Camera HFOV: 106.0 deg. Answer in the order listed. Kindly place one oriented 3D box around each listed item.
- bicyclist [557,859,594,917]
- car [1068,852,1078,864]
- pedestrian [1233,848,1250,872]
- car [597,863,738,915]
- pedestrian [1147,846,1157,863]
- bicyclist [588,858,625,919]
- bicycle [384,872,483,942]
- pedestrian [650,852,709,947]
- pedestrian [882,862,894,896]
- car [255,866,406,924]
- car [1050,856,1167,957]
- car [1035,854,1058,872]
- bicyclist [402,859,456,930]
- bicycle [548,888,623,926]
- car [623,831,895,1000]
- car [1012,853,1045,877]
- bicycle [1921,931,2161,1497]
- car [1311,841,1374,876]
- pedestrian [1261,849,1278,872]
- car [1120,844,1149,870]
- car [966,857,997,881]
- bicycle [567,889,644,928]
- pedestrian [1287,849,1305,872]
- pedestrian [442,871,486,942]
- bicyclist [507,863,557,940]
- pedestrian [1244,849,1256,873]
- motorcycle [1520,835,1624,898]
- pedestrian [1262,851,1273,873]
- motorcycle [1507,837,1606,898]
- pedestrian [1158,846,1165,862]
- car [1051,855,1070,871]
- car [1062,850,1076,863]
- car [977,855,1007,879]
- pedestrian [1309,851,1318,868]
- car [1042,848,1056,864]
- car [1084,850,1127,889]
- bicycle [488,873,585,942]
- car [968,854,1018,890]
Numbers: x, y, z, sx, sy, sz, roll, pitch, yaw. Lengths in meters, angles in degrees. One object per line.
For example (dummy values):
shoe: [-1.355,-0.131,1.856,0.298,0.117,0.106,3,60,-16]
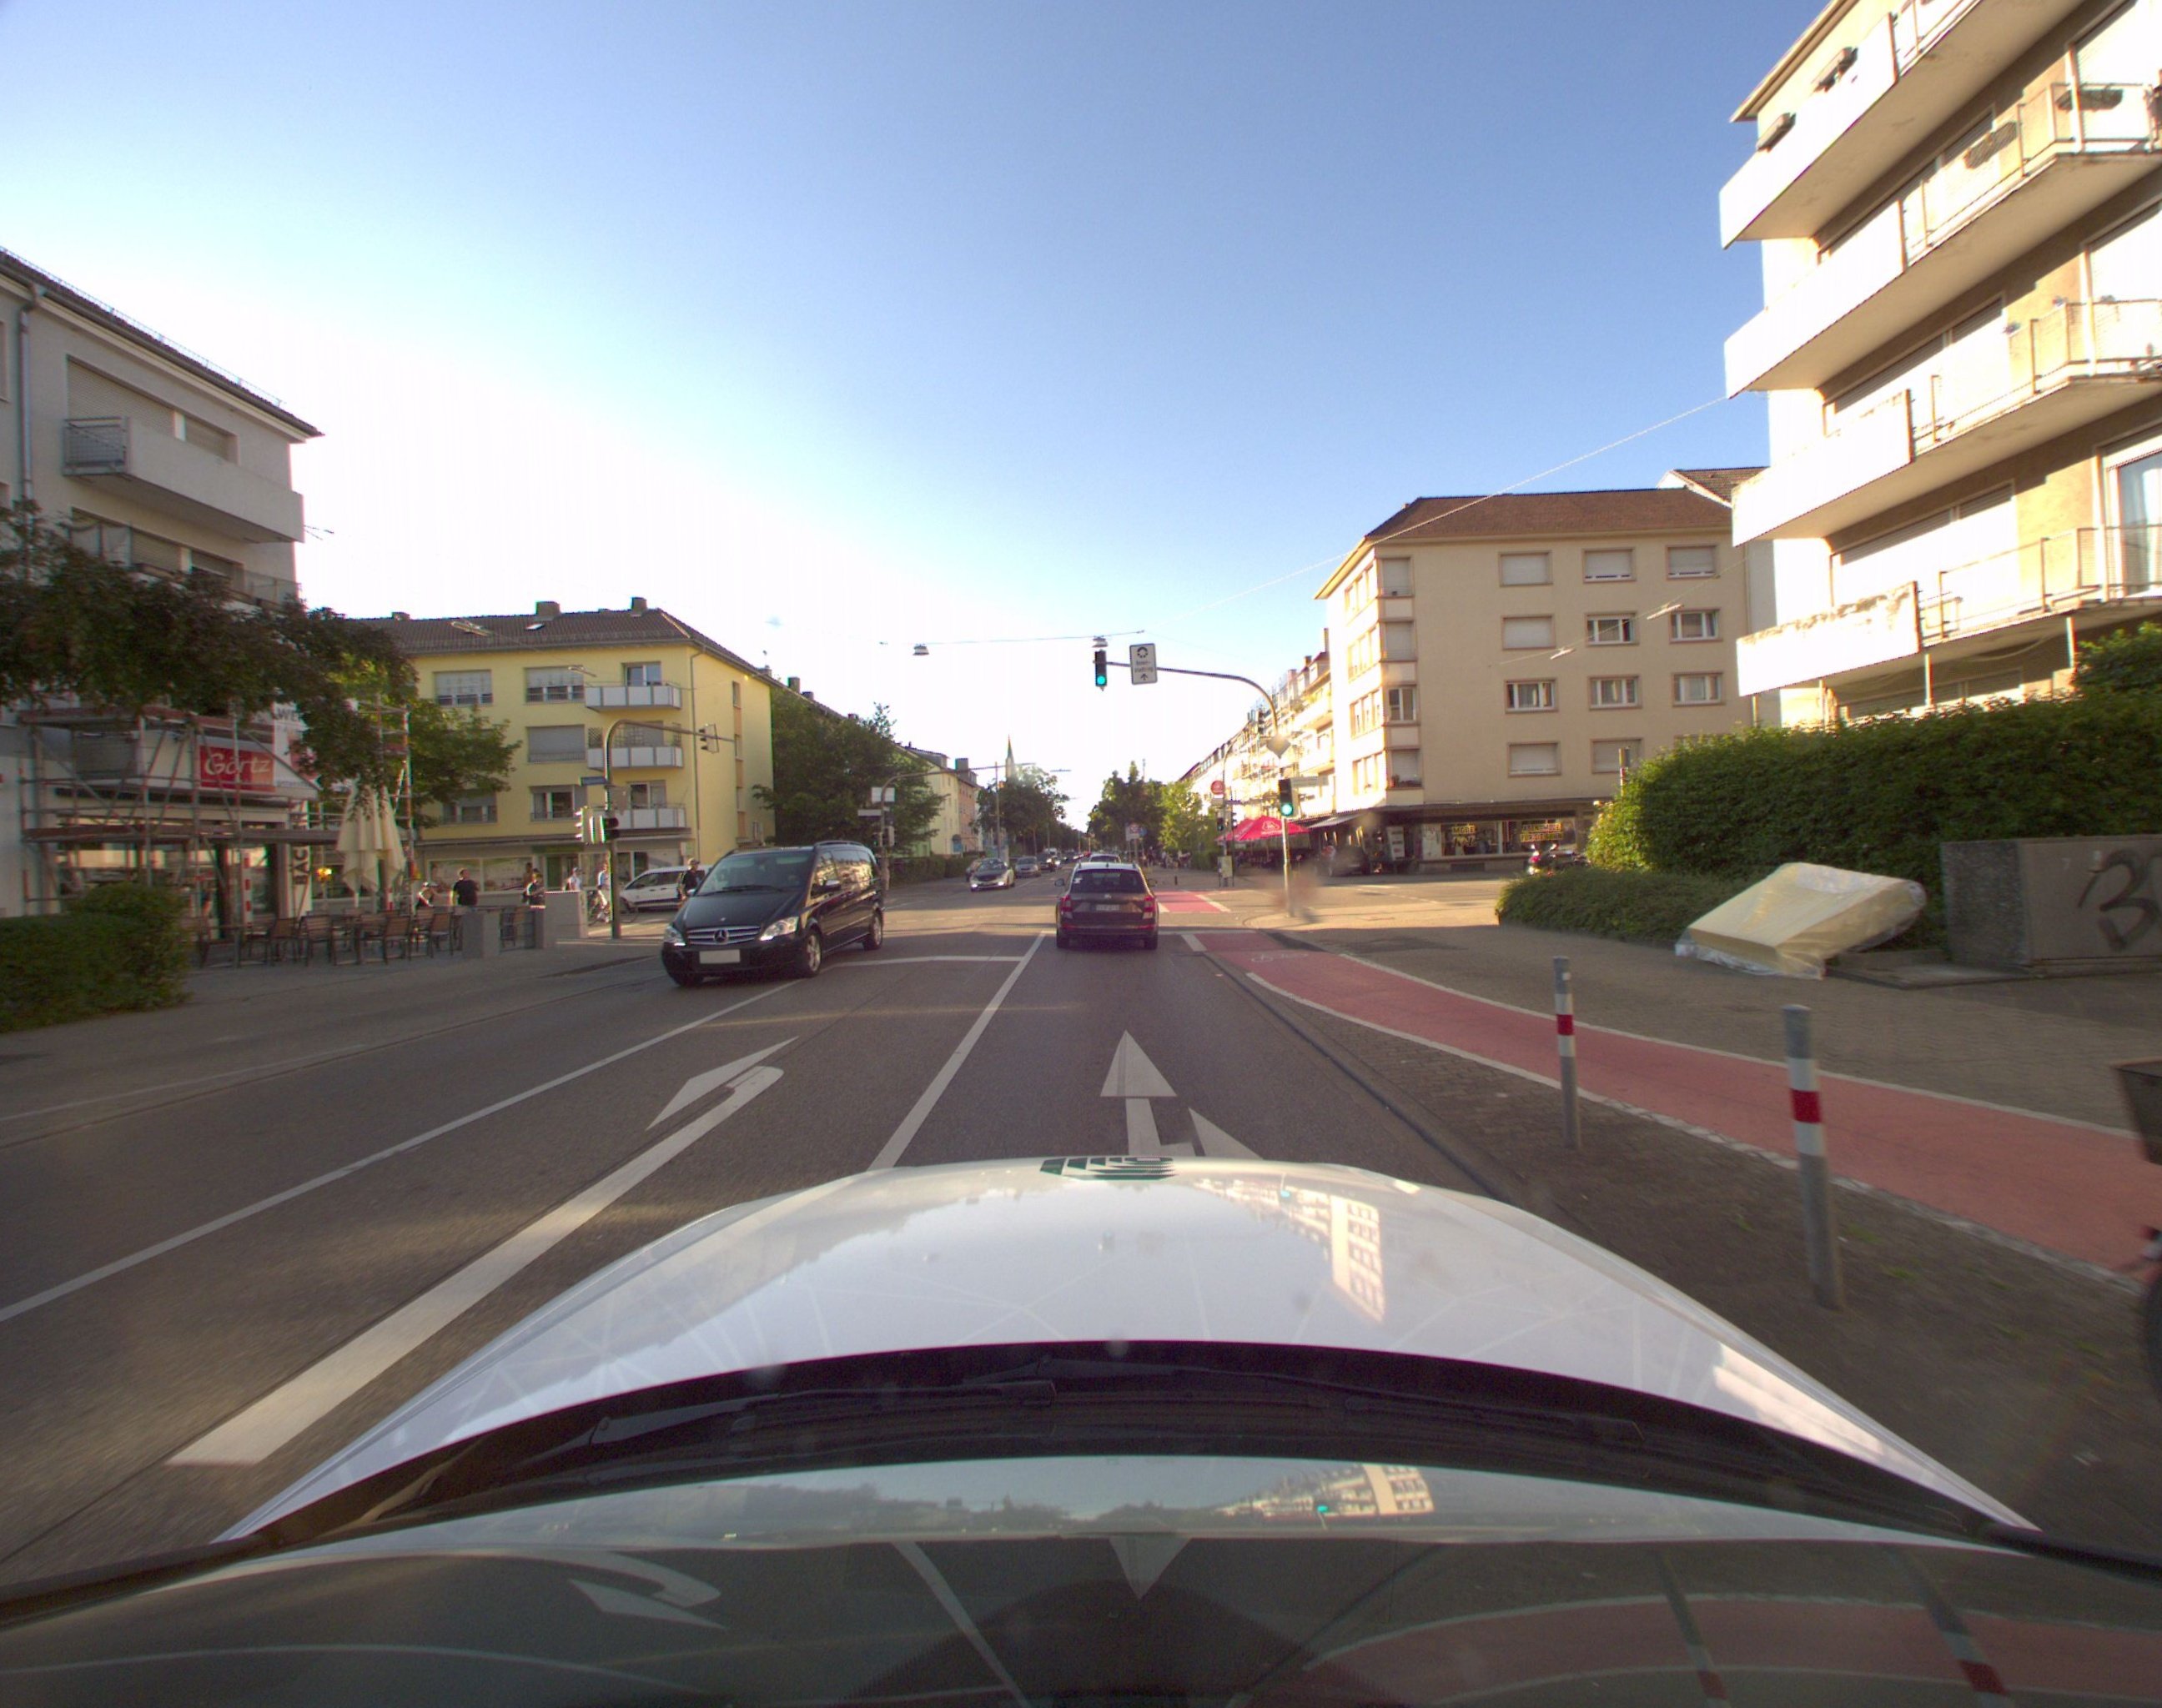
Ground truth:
bicyclist: [-16.254,1.075,26.207,0.738,1.823,0.652,-3,0,-8]
car: [-1.638,0.839,168.325,1.986,2.327,4.001,-3,0,1]
pedestrian: [8.557,0.321,43.467,0.675,1.198,0.856,-2,0,1]
car: [-16.493,1.369,32.656,4.618,1.811,1.862,-3,0,0]
pedestrian: [7.007,0.047,80.587,0.668,1.704,0.806,-3,0,27]
bicyclist: [-14.779,1.061,25.367,0.738,1.823,0.652,-3,0,-8]
bicycle: [-17.085,1.377,21.529,1.914,1.706,0.756,-3,0,-2]
pedestrian: [-8.774,0.969,17.834,0.777,1.987,0.821,-3,0,1]
pedestrian: [-8.749,1.142,36.894,0.299,1.504,0.640,-2,0,2]
car: [-29.362,1.581,31.948,3.973,2.013,2.000,-2,0,0]
car: [0.448,0.817,14.667,1.767,1.489,4.311,-1,0,1]
car: [-3.048,0.796,72.854,1.781,1.571,4.002,-1,0,2]
bicyclist: [-17.215,1.057,21.520,0.783,1.799,0.709,-2,0,-1]
bicycle: [-15.934,1.687,26.216,1.899,1.071,0.717,-3,-1,-9]
car: [-4.505,0.752,12.440,1.987,1.908,4.964,-4,0,1]
car: [-3.748,0.766,58.751,1.986,1.610,4.002,-3,0,2]
bicycle: [2.584,0.788,1.187,0.501,1.147,1.955,-5,0,-5]
car: [12.256,0.185,38.421,1.769,1.486,4.002,-3,0,2]
pedestrian: [10.104,0.345,43.681,0.726,1.198,0.856,-2,0,1]
car: [3.863,0.207,58.792,1.985,1.772,4.004,-1,0,4]
car: [-6.625,0.993,54.614,1.517,1.457,3.585,-3,0,1]
bicycle: [-14.798,1.682,25.365,1.899,1.071,0.717,-3,-1,-9]
pedestrian: [11.562,0.333,43.798,0.726,1.198,0.856,-2,0,1]
pedestrian: [-15.146,1.281,20.009,0.578,1.675,0.641,-2,0,-8]
bicyclist: [-14.757,1.255,21.907,0.723,2.013,0.843,-2,0,-2]
pedestrian: [9.233,0.381,44.466,0.498,1.302,0.506,-2,0,-2]
motorcycle: [11.340,0.288,18.857,1.904,1.361,0.695,-3,0,5]
pedestrian: [10.238,0.436,44.728,0.503,1.176,0.428,-2,0,0]
motorcycle: [11.509,0.317,19.747,1.904,1.361,0.695,-3,0,5]
pedestrian: [7.994,0.049,80.905,0.578,1.563,0.518,-2,0,-9]
car: [-2.149,0.968,86.723,1.697,1.550,4.003,-3,0,1]
car: [-1.936,0.372,132.820,1.986,2.013,4.001,-3,0,1]
car: [-6.513,0.905,59.928,1.554,1.618,4.002,-3,0,2]
pedestrian: [13.700,0.322,47.952,0.370,0.996,0.522,-2,0,1]
car: [-5.159,0.298,131.221,1.986,2.478,4.001,-3,0,1]
car: [1.043,0.621,34.764,1.730,1.571,4.002,-1,0,2]
bicycle: [-14.573,1.424,21.831,2.017,1.706,0.756,-3,0,-2]
car: [-4.217,0.839,39.660,1.824,1.579,4.001,-3,0,1]
